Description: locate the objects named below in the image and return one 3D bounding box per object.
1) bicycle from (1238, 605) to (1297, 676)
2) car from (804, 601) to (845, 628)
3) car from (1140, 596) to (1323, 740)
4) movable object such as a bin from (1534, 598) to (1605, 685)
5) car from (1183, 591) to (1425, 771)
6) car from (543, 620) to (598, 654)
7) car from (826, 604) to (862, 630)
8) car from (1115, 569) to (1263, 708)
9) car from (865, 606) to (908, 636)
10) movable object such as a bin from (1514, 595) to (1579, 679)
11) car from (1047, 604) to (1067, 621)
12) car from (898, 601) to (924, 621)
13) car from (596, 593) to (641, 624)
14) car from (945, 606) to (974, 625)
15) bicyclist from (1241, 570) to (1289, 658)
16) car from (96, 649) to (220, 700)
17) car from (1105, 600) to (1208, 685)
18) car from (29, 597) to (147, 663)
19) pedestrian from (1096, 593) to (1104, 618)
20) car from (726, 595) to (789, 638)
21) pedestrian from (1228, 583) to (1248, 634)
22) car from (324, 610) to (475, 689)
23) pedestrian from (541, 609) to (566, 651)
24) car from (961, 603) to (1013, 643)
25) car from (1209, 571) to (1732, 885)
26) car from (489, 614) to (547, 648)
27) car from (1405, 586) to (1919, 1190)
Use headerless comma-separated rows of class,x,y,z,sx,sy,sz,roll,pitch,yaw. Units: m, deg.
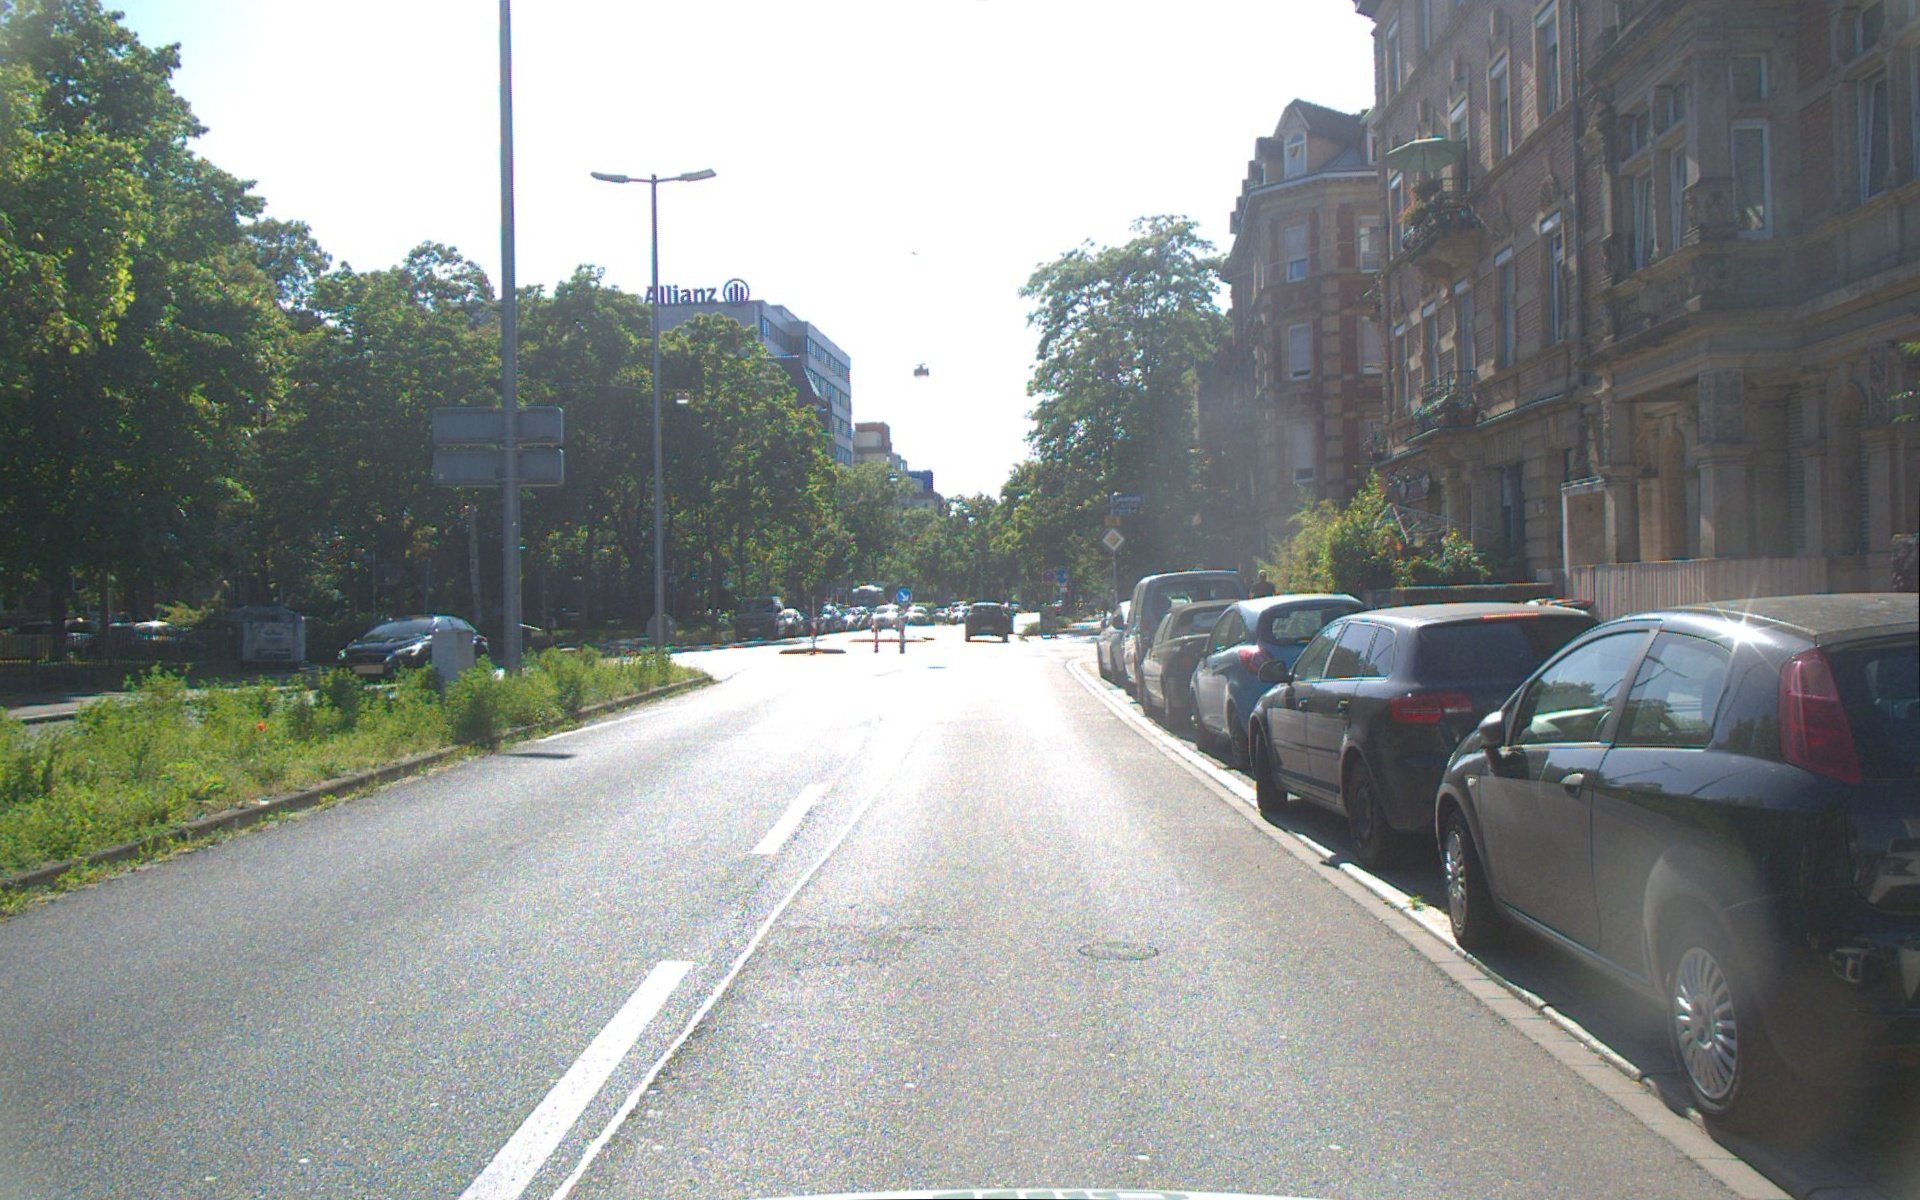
bicycle,5.726,0.744,30.896,0.725,1.240,1.960,-3,0,2
car,-7.776,0.836,95.010,1.491,1.457,3.557,-1,0,9
car,3.141,0.727,19.883,1.633,1.493,4.275,-2,0,2
movable object such as a bin,8.349,0.574,22.670,0.743,1.177,0.608,0,-3,2
car,3.194,0.690,15.927,1.588,1.496,3.298,-2,1,-1
car,-21.288,1.997,90.305,1.954,1.691,3.961,-2,0,-29
car,-6.979,1.011,99.910,1.491,1.457,3.340,-1,0,7
car,3.393,0.528,25.188,1.781,1.876,4.365,-2,0,2
car,-4.184,1.179,94.833,1.721,1.545,3.862,-2,1,7
movable object such as a bin,8.345,0.540,23.551,0.707,1.177,0.608,0,-3,2
car,10.208,1.328,174.545,1.880,1.668,4.003,-2,0,6
car,-3.919,0.868,132.481,1.764,1.530,3.808,-1,0,2
car,-19.081,0.475,92.246,1.946,1.691,3.977,-1,0,-20
car,-0.015,1.251,131.307,1.746,1.486,4.418,-1,-1,8
bicyclist,5.688,0.248,30.867,0.726,1.608,1.100,0,1,2
car,-24.849,2.330,51.387,1.807,1.517,3.999,0,-3,1
car,3.543,0.725,30.409,1.673,1.450,4.208,0,0,4
car,-33.859,1.204,64.369,1.807,2.365,4.984,0,-4,1
pedestrian,11.179,0.440,132.166,0.602,2.049,0.681,-1,0,1
car,-9.578,0.748,78.477,2.153,1.963,4.864,-1,0,3
pedestrian,10.243,0.329,61.001,0.642,1.848,0.752,-1,-3,5
car,-11.753,0.994,34.972,1.759,1.545,4.422,0,0,-1
pedestrian,-16.252,1.211,66.131,0.656,1.655,0.713,-1,0,34
car,1.051,0.915,66.939,1.857,1.545,3.998,1,0,-3
car,2.952,0.642,10.697,1.896,1.545,4.483,-2,0,-1
car,-23.292,1.599,87.171,1.955,1.691,3.958,-2,0,-31
car,2.962,0.683,5.906,1.634,1.418,3.774,-2,0,-1
